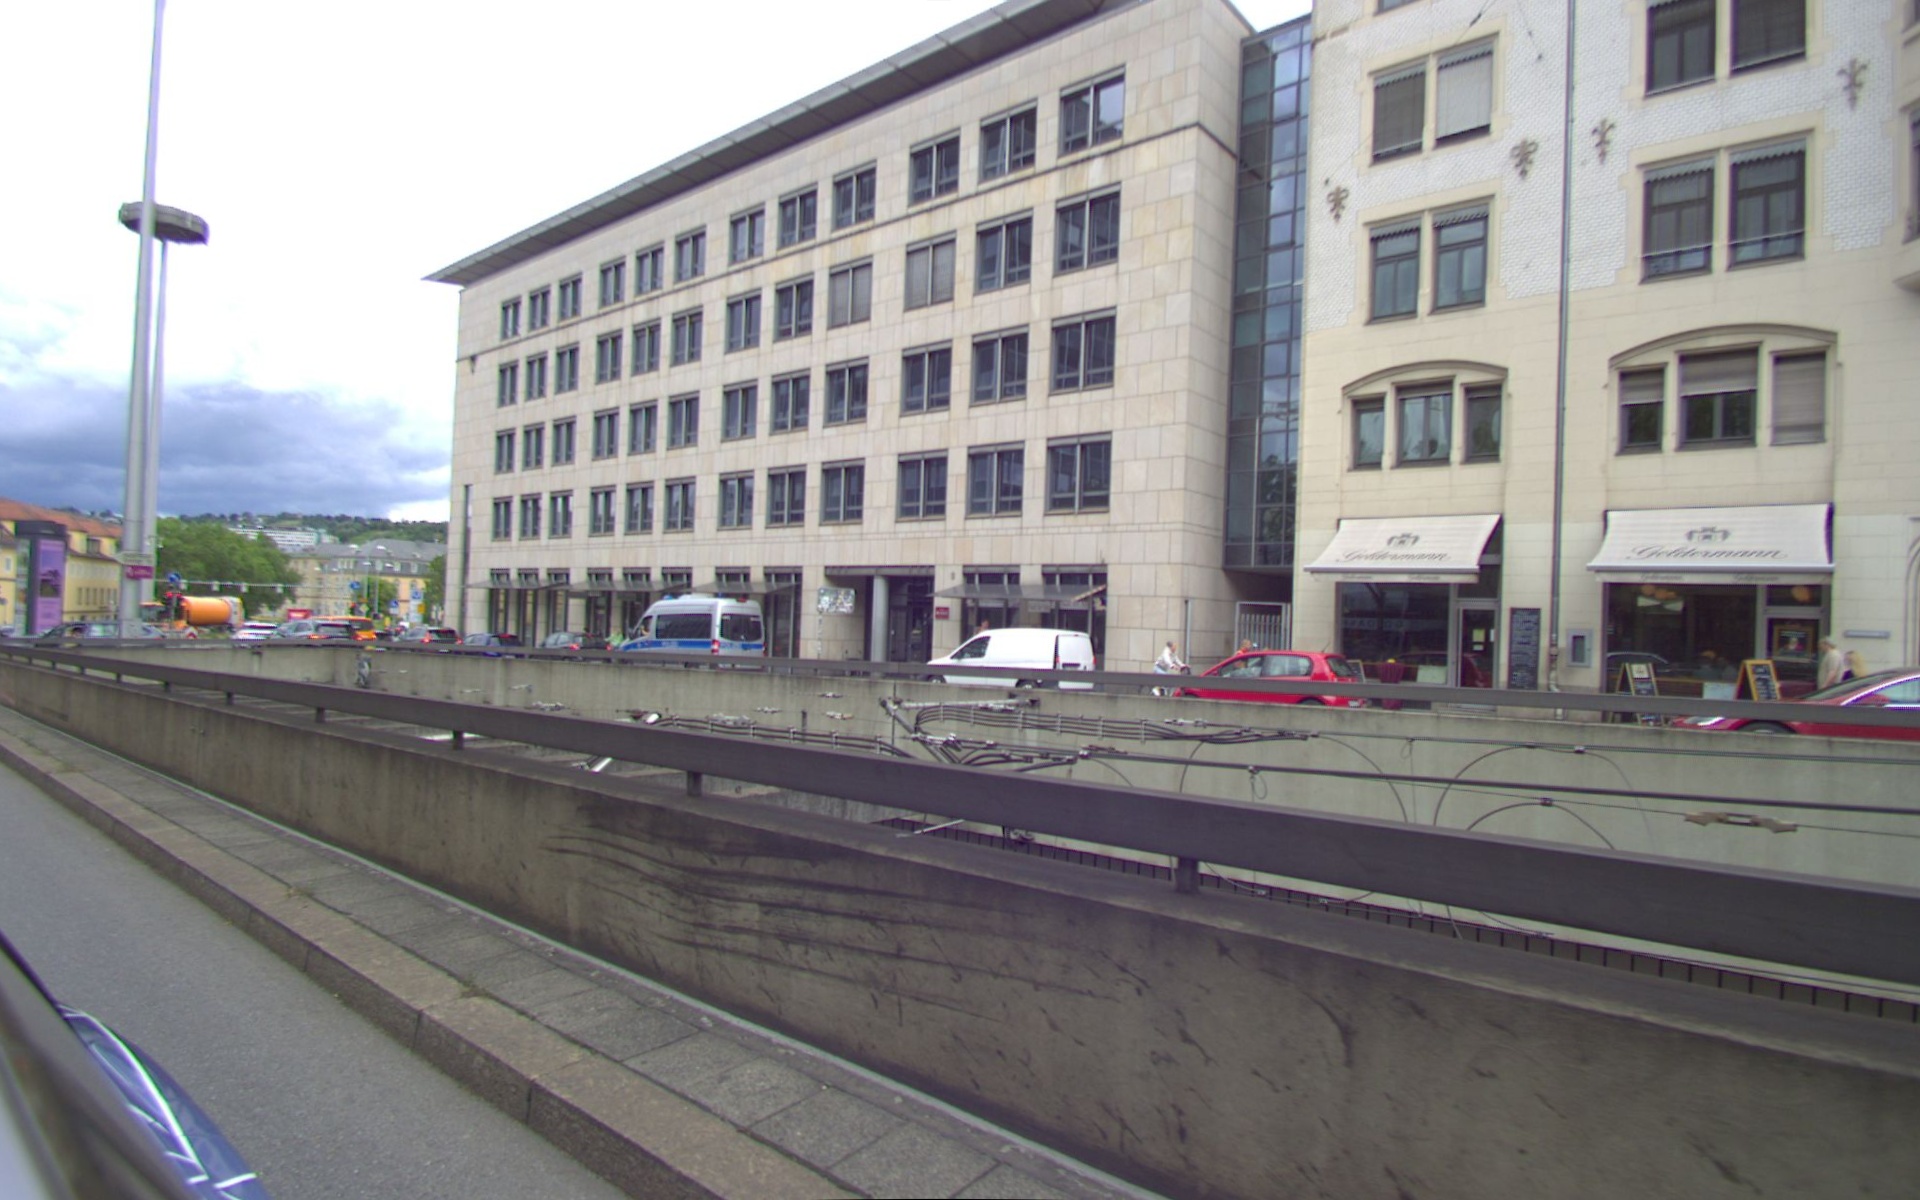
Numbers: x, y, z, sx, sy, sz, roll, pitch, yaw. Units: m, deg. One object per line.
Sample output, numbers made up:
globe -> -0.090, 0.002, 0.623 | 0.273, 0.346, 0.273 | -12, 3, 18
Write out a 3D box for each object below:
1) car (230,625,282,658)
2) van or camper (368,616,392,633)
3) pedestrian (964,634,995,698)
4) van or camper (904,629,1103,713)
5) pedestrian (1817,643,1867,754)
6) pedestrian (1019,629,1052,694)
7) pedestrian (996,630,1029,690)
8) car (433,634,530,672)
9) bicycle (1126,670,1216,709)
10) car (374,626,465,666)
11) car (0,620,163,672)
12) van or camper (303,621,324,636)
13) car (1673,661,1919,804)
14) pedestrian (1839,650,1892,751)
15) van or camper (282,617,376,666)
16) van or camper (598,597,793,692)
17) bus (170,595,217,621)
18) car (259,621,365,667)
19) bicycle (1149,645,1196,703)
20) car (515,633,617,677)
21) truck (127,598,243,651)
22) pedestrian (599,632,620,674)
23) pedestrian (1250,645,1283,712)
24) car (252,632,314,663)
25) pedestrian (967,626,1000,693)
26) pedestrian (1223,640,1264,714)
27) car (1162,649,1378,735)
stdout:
car -> -36.551, 2.146, 52.510 | 1.713, 1.611, 4.326 | 4, -3, -40
van or camper -> -92.936, 3.948, 162.208 | 2.113, 2.495, 6.173 | 10, -7, -37
pedestrian -> 0.543, 1.820, 28.184 | 0.680, 1.731, 0.549 | -1, -2, 41
van or camper -> 0.954, 1.590, 23.796 | 4.483, 1.765, 1.849 | -1, -3, 40
pedestrian -> 14.543, 1.605, 16.685 | 0.583, 1.770, 0.474 | -2, -4, 43
pedestrian -> 2.060, 1.673, 27.659 | 0.679, 1.767, 0.546 | -1, -3, 39
pedestrian -> 1.398, 1.592, 27.023 | 0.679, 1.589, 0.546 | -1, -3, 39
car -> -19.651, 2.157, 41.486 | 4.571, 1.406, 1.972 | -1, -3, 42
bicycle -> 4.806, 2.030, 23.125 | 1.955, 0.768, 0.626 | -1, -3, 38
car -> -24.307, 2.047, 45.415 | 4.680, 1.658, 1.973 | -1, -4, 41
car -> -27.035, 1.380, 30.577 | 4.494, 1.469, 1.884 | 3, -3, -41
van or camper -> -83.649, 3.722, 131.009 | 1.834, 1.931, 4.728 | 2, -3, -28
car -> 11.166, 1.496, 11.512 | 4.871, 1.476, 1.978 | -1, -3, 33
pedestrian -> 14.379, 1.577, 16.068 | 0.583, 1.549, 0.474 | -2, -4, 43
van or camper -> -27.053, 1.747, 43.348 | 5.080, 1.936, 1.893 | -1, -4, 41
van or camper -> -8.543, 1.397, 32.387 | 6.242, 2.747, 2.971 | -1, -3, 41
bus -> -101.735, 1.137, 134.468 | 3.376, 3.228, 13.102 | 1, -1, -30
car -> -23.419, 1.567, 36.506 | 4.538, 1.538, 1.899 | -1, -3, 40
bicycle -> 4.852, 1.684, 23.106 | 0.843, 1.270, 0.626 | -1, -3, 37
car -> -14.590, 2.009, 37.380 | 4.028, 1.460, 1.750 | -1, -5, 41
truck -> -61.377, 1.837, 80.504 | 2.687, 3.643, 9.188 | 2, 1, -4
pedestrian -> -14.145, 2.132, 40.837 | 0.627, 1.636, 0.494 | -1, -3, 40
pedestrian -> 6.980, 1.773, 23.021 | 0.541, 1.486, 0.543 | -1, -3, 41
car -> -31.946, 2.228, 47.717 | 3.632, 1.390, 1.540 | -1, -4, 42
pedestrian -> 0.669, 1.695, 28.930 | 0.679, 1.889, 0.610 | -1, -3, 40
pedestrian -> 6.283, 1.690, 22.427 | 0.712, 1.593, 0.576 | -1, -3, 41
car -> 5.881, 1.691, 19.346 | 3.579, 1.416, 1.769 | -1, -3, 39
